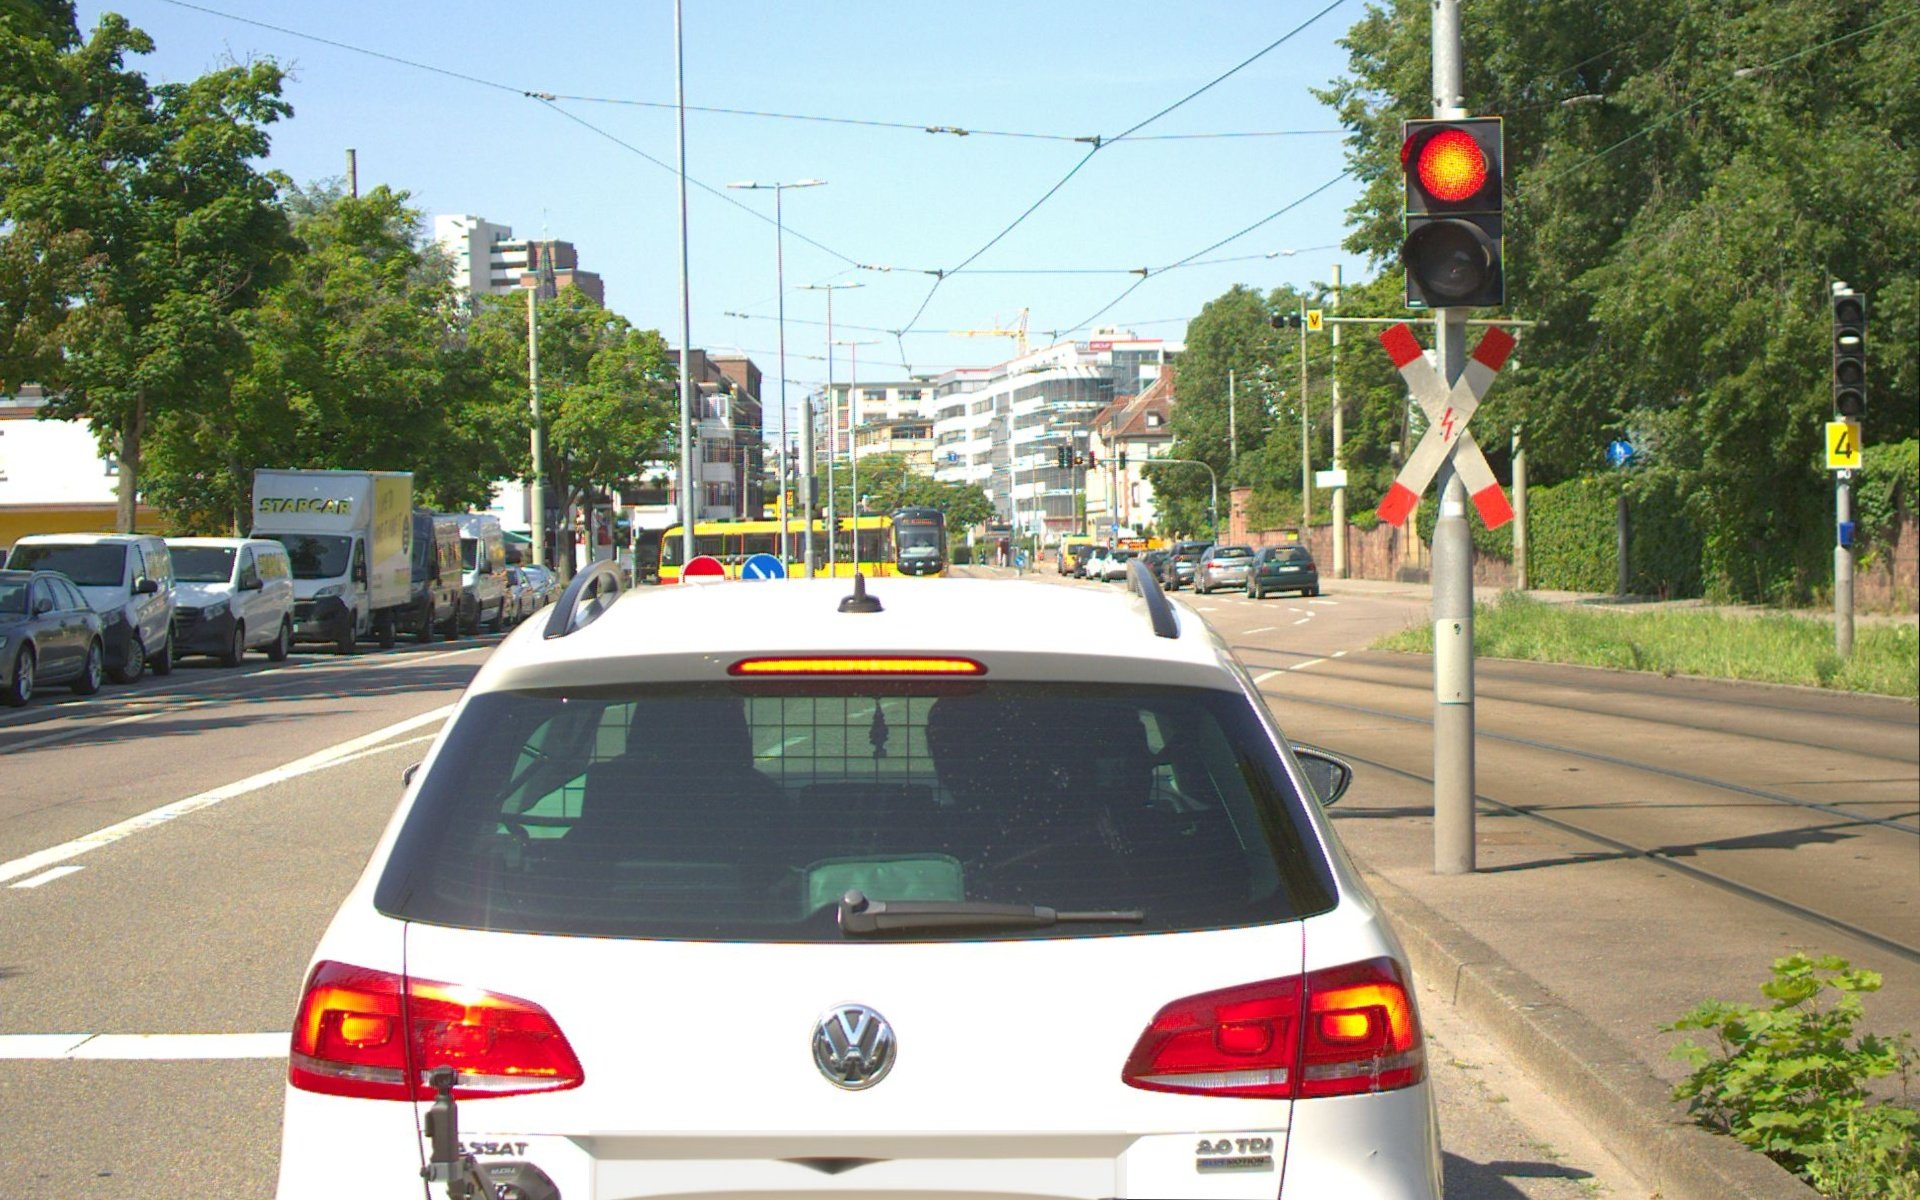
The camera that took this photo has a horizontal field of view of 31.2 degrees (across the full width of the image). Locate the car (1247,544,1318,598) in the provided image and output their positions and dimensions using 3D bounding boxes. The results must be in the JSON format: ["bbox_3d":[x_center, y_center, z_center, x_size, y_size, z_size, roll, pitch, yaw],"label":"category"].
[{"bbox_3d":[8.564,-0.796,91.479,1.746,1.383,3.913,1,1,4],"label":"car"}]

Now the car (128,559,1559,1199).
[{"bbox_3d":[-0.198,0.675,6.237,1.768,1.441,3.913,1,1,-1],"label":"car"}]

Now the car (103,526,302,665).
[{"bbox_3d":[-11.375,-0.111,51.980,1.843,1.954,5.134,-1,1,0],"label":"car"}]

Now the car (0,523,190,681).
[{"bbox_3d":[-11.512,-0.019,45.400,1.843,1.930,5.195,-1,1,-4],"label":"car"}]

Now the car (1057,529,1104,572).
[{"bbox_3d":[7.123,-2.911,203.977,2.463,2.490,5.910,1,0,-1],"label":"car"}]

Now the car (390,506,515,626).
[{"bbox_3d":[-11.158,-0.779,75.915,1.843,2.486,5.857,-1,1,0],"label":"car"}]

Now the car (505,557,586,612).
[{"bbox_3d":[-11.626,-0.456,96.589,1.780,1.428,4.038,-1,1,-1],"label":"car"}]

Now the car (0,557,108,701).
[{"bbox_3d":[-11.014,0.303,38.624,1.843,1.511,4.197,-1,1,-1],"label":"car"}]

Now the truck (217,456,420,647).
[{"bbox_3d":[-11.160,-0.865,60.330,2.356,3.112,6.892,-1,1,-1],"label":"truck"}]

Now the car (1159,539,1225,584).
[{"bbox_3d":[8.029,-1.346,119.033,1.861,1.508,3.913,1,1,-2],"label":"car"}]

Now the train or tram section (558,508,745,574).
[{"bbox_3d":[-15.864,-3.054,176.010,10.796,3.241,2.304,1,0,37],"label":"train or tram section"}]

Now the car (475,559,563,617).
[{"bbox_3d":[-11.678,-0.343,91.224,1.843,1.428,4.038,-1,1,-1],"label":"car"}]

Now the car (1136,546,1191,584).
[{"bbox_3d":[7.904,-1.368,133.788,1.745,1.403,3.913,1,1,-2],"label":"car"}]

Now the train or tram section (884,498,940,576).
[{"bbox_3d":[-2.048,-2.672,149.829,2.301,3.241,11.275,1,0,0],"label":"train or tram section"}]

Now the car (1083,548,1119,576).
[{"bbox_3d":[7.021,-1.906,171.248,1.581,1.341,3.454,1,0,-1],"label":"car"}]

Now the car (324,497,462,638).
[{"bbox_3d":[-11.185,-0.665,68.103,1.843,2.659,5.003,-1,1,0],"label":"car"}]

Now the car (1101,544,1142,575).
[{"bbox_3d":[7.212,-1.802,153.719,1.581,1.341,3.454,1,0,-1],"label":"car"}]

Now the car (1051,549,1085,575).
[{"bbox_3d":[6.876,-2.426,219.052,1.993,1.590,4.000,1,0,0],"label":"car"}]

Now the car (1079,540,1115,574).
[{"bbox_3d":[7.326,-2.285,184.110,1.691,1.806,3.454,1,0,-1],"label":"car"}]

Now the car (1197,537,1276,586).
[{"bbox_3d":[8.405,-1.188,104.776,1.861,1.412,4.325,1,1,-2],"label":"car"}]
